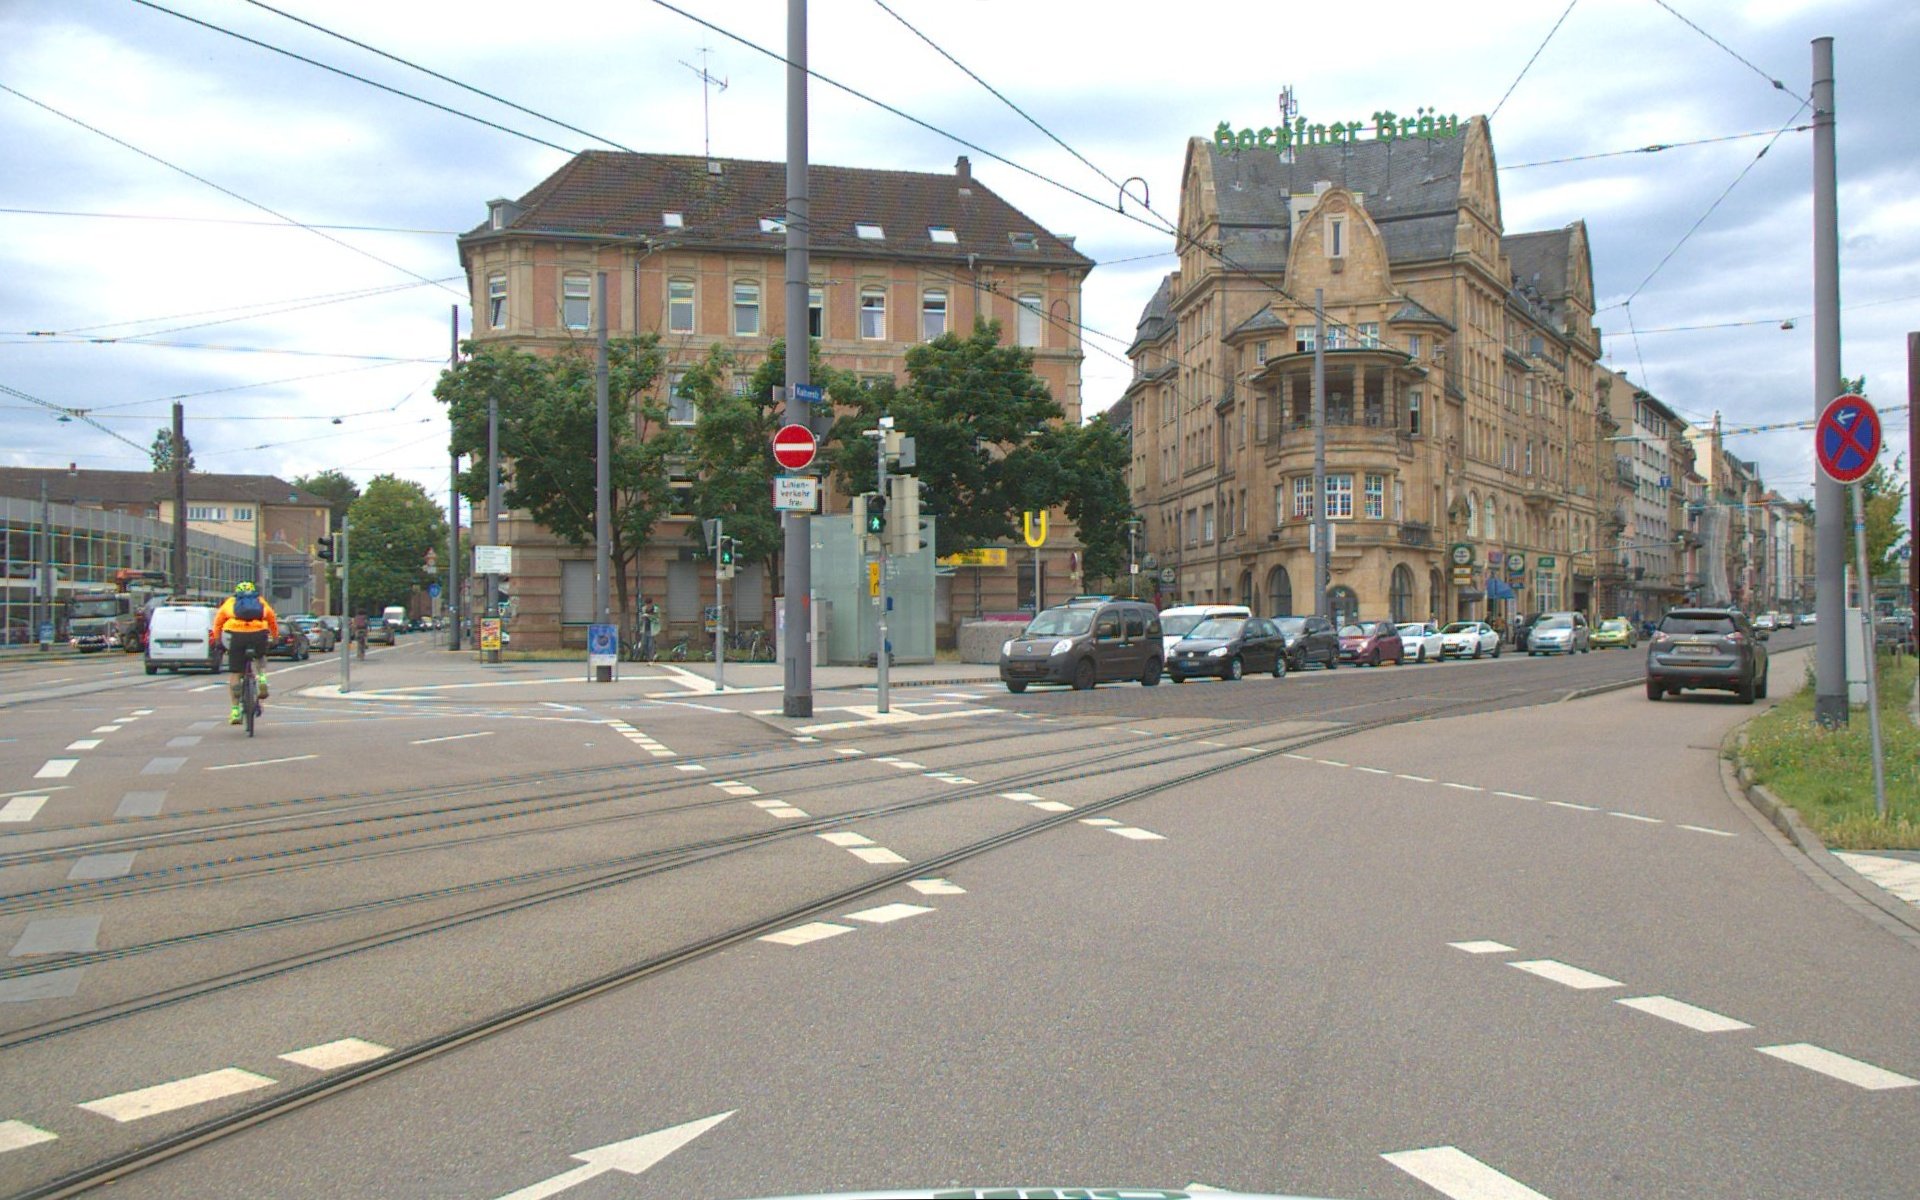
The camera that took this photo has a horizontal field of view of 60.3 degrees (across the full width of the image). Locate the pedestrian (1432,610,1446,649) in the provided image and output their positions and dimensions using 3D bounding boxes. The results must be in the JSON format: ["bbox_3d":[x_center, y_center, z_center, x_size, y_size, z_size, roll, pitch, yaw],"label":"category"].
[{"bbox_3d":[21.442,1.329,74.021,0.617,1.749,0.533,0,-1,17],"label":"pedestrian"}]

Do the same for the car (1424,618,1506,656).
[{"bbox_3d":[19.474,1.385,63.683,1.892,1.404,4.245,-1,-1,34],"label":"car"}]

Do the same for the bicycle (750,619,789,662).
[{"bbox_3d":[-6.294,1.345,54.814,0.938,1.378,3.120,1,-1,-1],"label":"bicycle"}]

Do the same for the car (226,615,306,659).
[{"bbox_3d":[-23.939,1.254,57.172,1.960,1.445,3.985,0,-1,-14],"label":"car"}]

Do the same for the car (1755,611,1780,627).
[{"bbox_3d":[75.132,1.758,153.783,1.727,1.475,4.604,-1,-1,31],"label":"car"}]

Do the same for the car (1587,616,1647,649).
[{"bbox_3d":[32.239,1.596,81.098,1.865,1.537,4.416,-2,-2,32],"label":"car"}]

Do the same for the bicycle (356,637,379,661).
[{"bbox_3d":[-20.948,1.717,58.487,0.611,0.807,1.578,0,-1,-26],"label":"bicycle"}]

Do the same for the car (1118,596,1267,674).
[{"bbox_3d":[6.278,0.900,44.182,1.831,1.950,5.082,-1,-1,35],"label":"car"}]

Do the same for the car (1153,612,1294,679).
[{"bbox_3d":[6.118,1.026,38.105,1.659,1.467,3.987,-1,-1,34],"label":"car"}]

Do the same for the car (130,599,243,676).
[{"bbox_3d":[-20.803,0.982,44.640,1.879,1.974,4.118,0,-1,-12],"label":"car"}]

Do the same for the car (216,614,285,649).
[{"bbox_3d":[-38.692,1.687,90.357,1.953,1.871,4.520,0,-1,-2],"label":"car"}]

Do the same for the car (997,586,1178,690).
[{"bbox_3d":[2.627,0.732,33.039,1.659,1.934,4.372,-1,-1,34],"label":"car"}]

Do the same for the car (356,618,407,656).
[{"bbox_3d":[-32.147,2.085,92.055,1.957,2.049,3.991,1,-1,-9],"label":"car"}]

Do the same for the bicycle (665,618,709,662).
[{"bbox_3d":[-8.908,1.301,54.069,0.938,1.378,3.120,1,-1,-1],"label":"bicycle"}]

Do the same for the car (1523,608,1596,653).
[{"bbox_3d":[24.440,1.221,67.318,1.829,1.736,4.897,-2,-1,32],"label":"car"}]

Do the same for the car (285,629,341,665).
[{"bbox_3d":[-28.560,2.051,73.131,1.822,1.534,3.983,1,-1,-15],"label":"car"}]

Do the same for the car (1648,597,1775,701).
[{"bbox_3d":[14.146,0.877,31.023,1.718,1.786,3.914,1,0,31],"label":"car"}]

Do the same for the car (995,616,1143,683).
[{"bbox_3d":[2.579,1.118,38.371,1.659,1.467,3.987,-1,-1,34],"label":"car"}]

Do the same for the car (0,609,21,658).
[{"bbox_3d":[-37.868,1.294,62.817,1.953,1.871,4.520,0,-1,-2],"label":"car"}]

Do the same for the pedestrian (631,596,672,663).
[{"bbox_3d":[-8.089,0.766,43.317,0.901,1.758,0.595,0,-1,-34],"label":"pedestrian"}]

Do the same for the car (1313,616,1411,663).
[{"bbox_3d":[13.089,1.267,53.752,1.830,1.424,3.882,-3,-2,34],"label":"car"}]

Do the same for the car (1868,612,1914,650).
[{"bbox_3d":[42.603,1.403,75.635,1.722,1.602,3.923,-3,-2,30],"label":"car"}]

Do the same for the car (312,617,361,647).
[{"bbox_3d":[-40.483,2.059,107.542,1.956,1.871,4.515,0,-1,-7],"label":"car"}]

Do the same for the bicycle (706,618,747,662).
[{"bbox_3d":[-7.635,1.319,54.255,0.938,1.378,3.120,1,-1,-1],"label":"bicycle"}]

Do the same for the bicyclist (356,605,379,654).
[{"bbox_3d":[-20.948,1.034,58.494,0.679,1.738,0.792,0,-1,-26],"label":"bicyclist"}]

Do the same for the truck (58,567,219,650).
[{"bbox_3d":[-38.277,0.475,77.486,2.736,3.612,9.223,1,-1,1],"label":"truck"}]

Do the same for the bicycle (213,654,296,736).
[{"bbox_3d":[-8.176,1.075,19.130,0.551,0.863,2.049,0,-1,-33],"label":"bicycle"}]

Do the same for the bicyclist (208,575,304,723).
[{"bbox_3d":[-8.168,0.550,19.166,0.819,1.649,1.306,0,-1,-33],"label":"bicyclist"}]

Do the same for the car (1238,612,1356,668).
[{"bbox_3d":[10.109,1.179,49.402,1.831,1.561,4.286,-3,-2,35],"label":"car"}]

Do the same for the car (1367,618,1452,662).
[{"bbox_3d":[15.925,1.394,58.465,1.715,1.404,4.351,-4,-2,32],"label":"car"}]

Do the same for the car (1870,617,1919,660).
[{"bbox_3d":[34.576,1.409,61.024,1.607,1.459,3.923,-3,-2,30],"label":"car"}]

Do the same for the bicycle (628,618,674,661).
[{"bbox_3d":[-10.039,1.286,53.922,0.938,1.378,3.120,1,-1,-1],"label":"bicycle"}]
